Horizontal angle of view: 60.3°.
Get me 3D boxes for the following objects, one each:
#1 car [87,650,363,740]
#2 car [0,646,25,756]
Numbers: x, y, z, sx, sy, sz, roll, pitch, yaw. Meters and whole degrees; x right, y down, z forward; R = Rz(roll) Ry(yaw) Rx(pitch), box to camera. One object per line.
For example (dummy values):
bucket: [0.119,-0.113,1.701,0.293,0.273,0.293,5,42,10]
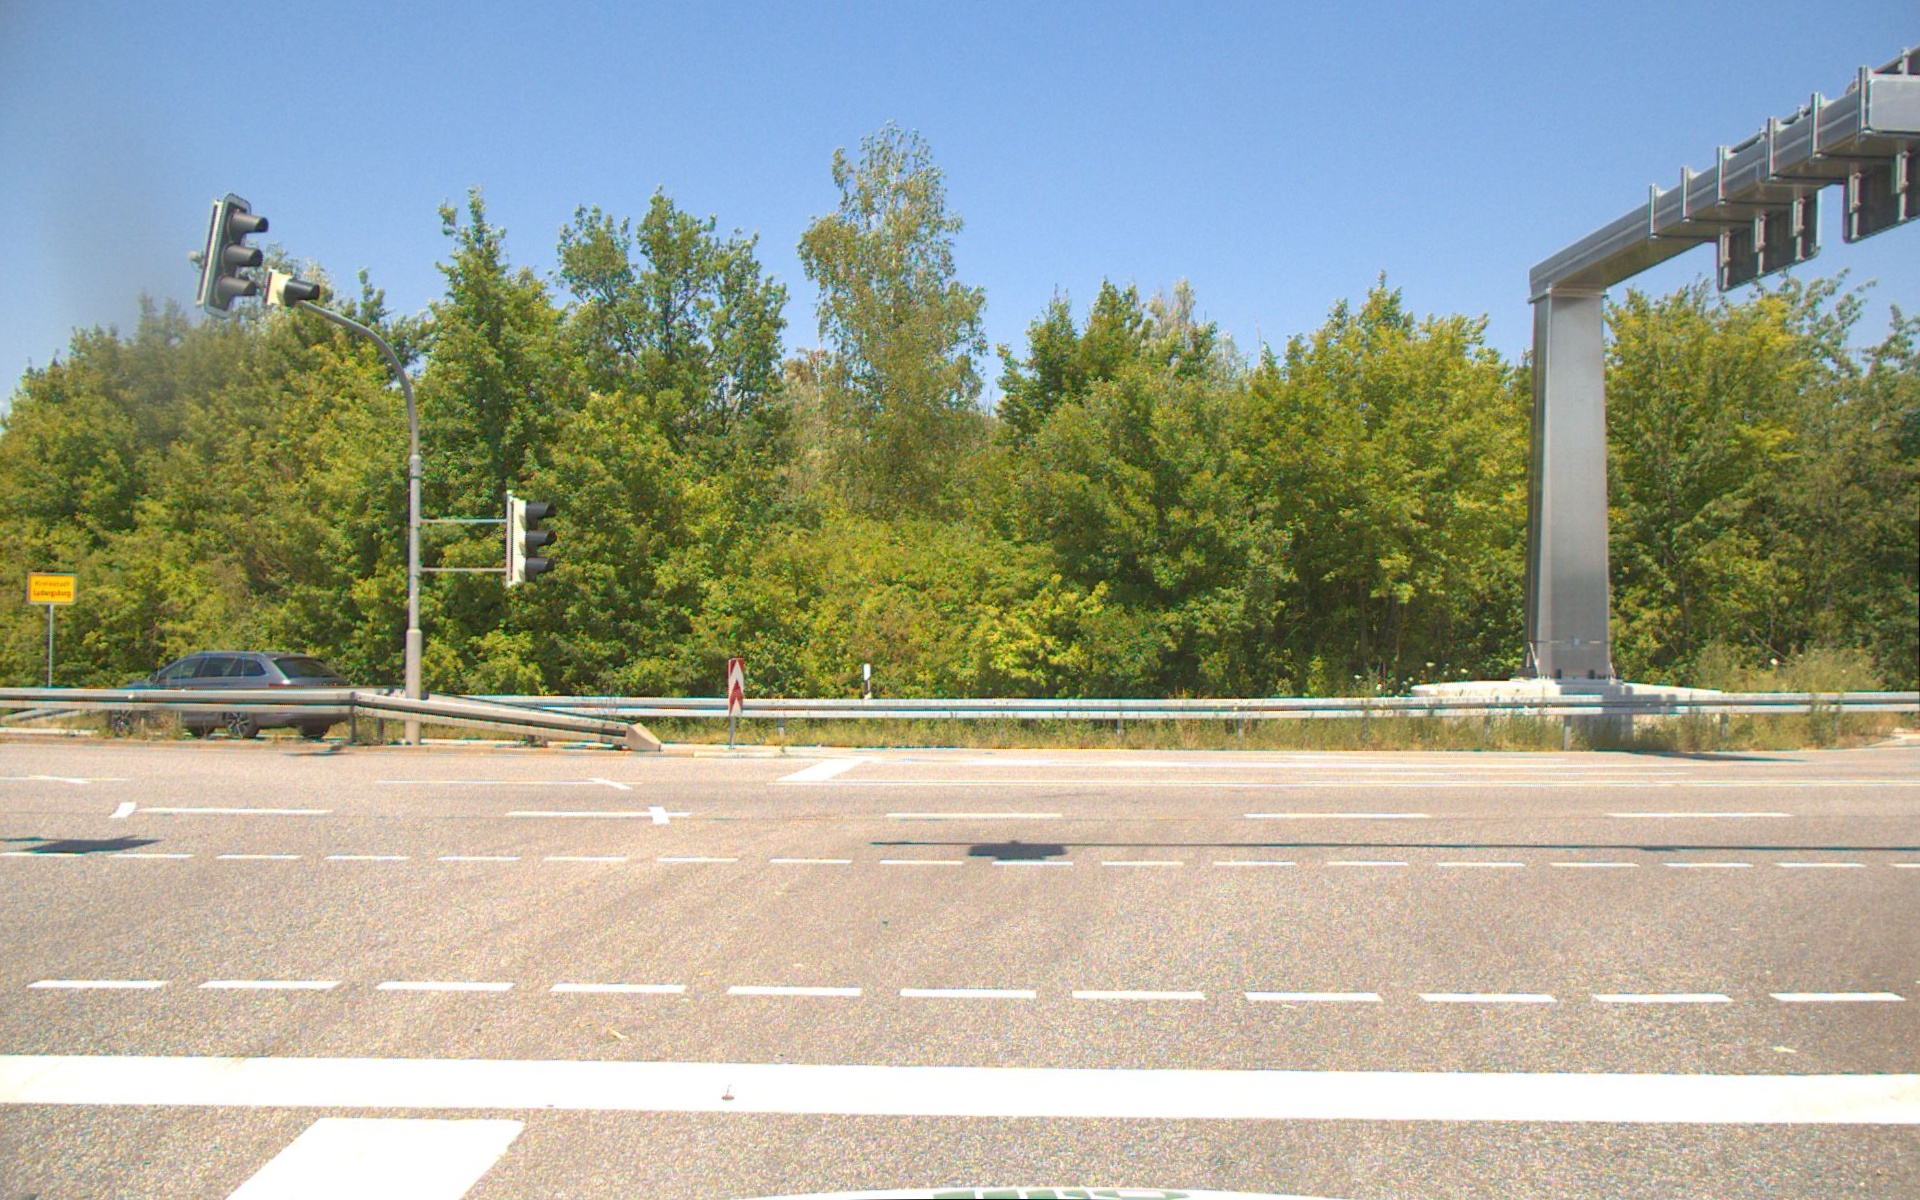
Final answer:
car: [-12.890,1.648,29.037,4.307,1.459,1.812,0,-4,19]
car: [-14.814,1.308,21.988,3.832,1.459,1.813,0,-3,11]
